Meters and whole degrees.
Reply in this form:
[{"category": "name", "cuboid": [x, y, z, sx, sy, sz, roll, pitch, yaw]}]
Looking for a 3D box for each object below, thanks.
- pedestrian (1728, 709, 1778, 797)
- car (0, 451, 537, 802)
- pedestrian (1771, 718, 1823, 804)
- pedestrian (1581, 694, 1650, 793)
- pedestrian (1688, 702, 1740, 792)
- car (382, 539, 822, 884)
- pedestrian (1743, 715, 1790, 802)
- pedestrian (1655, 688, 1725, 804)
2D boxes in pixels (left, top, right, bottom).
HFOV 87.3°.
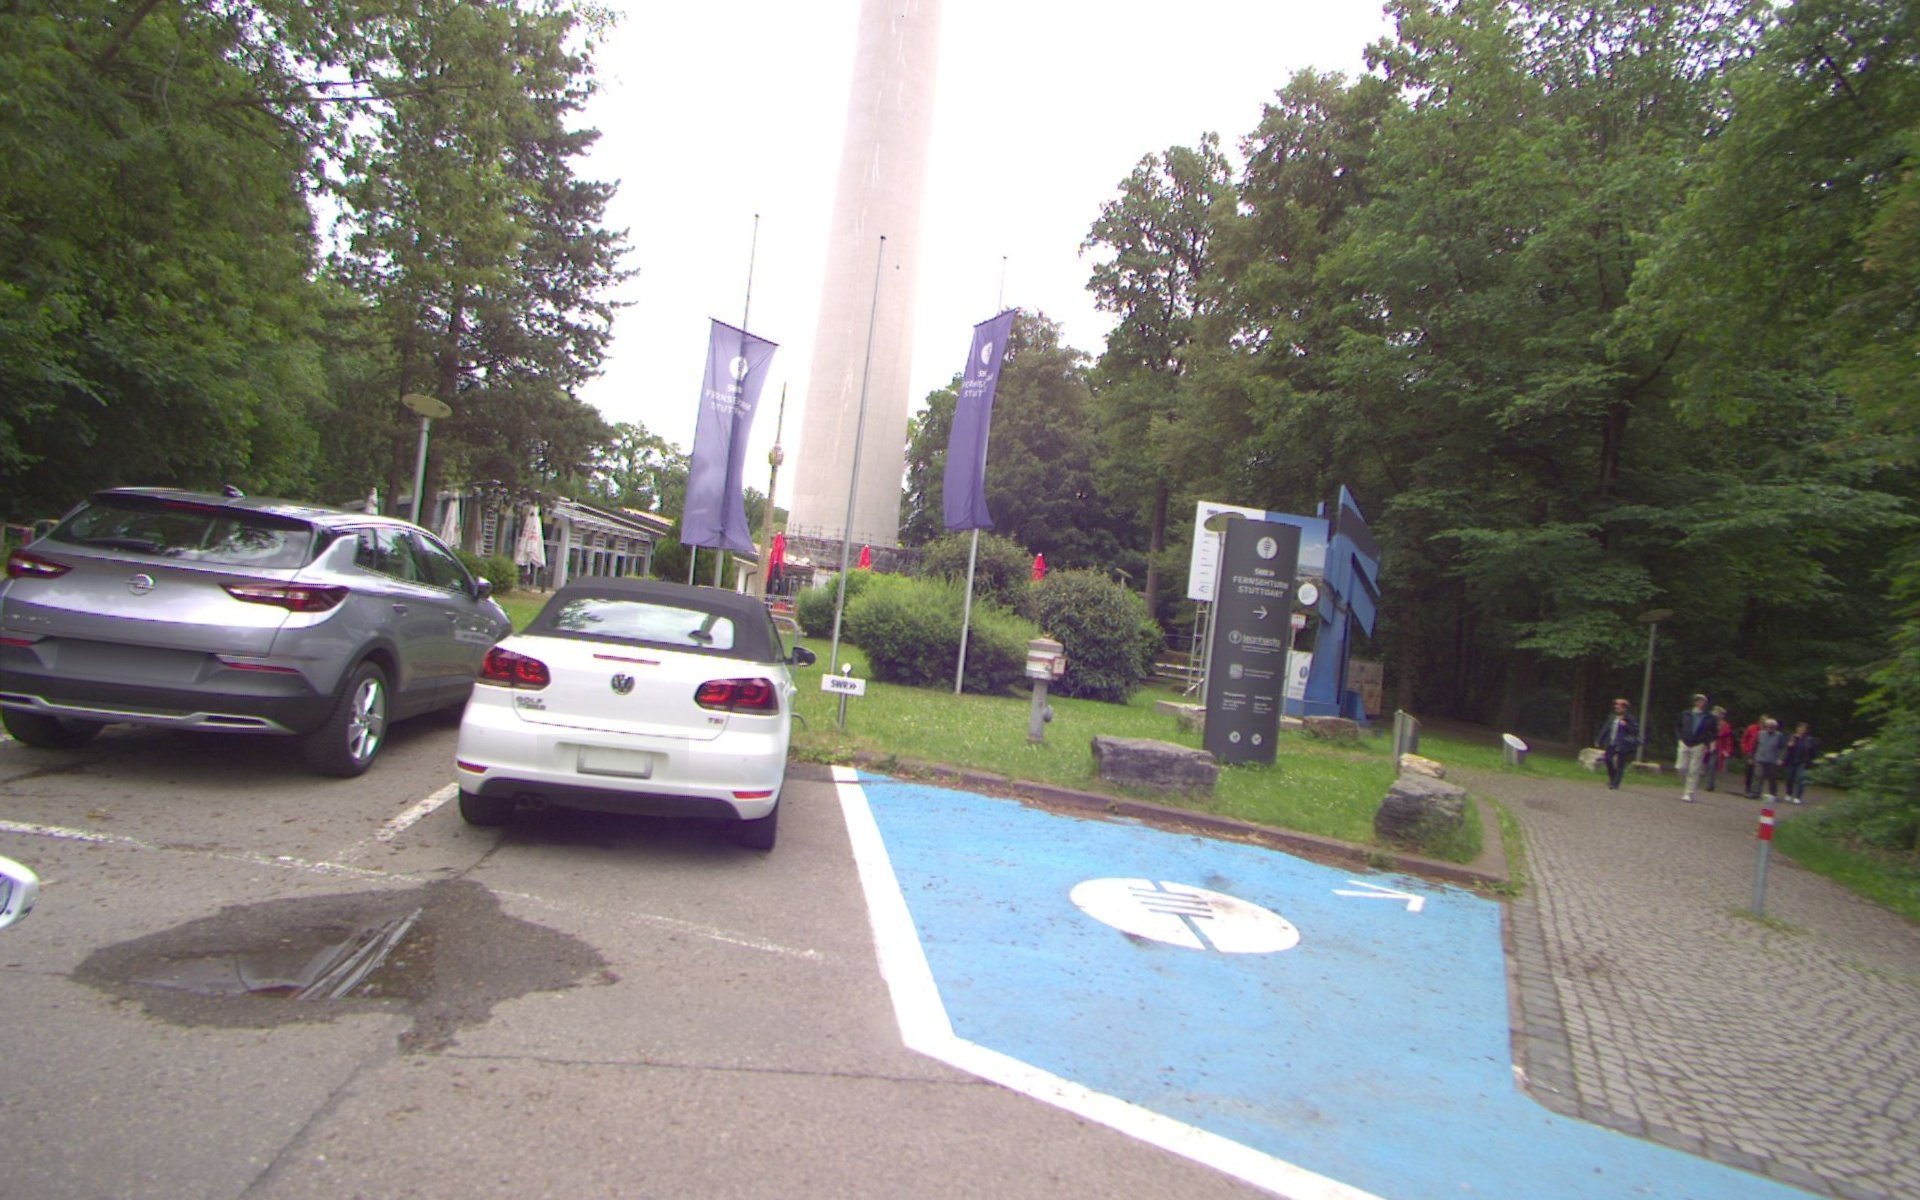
[{"category": "pedestrian", "cuboid": [17.400, 3.340, 22.081, 0.672, 1.789, 0.711, 7, 0, 40]}, {"category": "car", "cuboid": [-4.590, 0.133, 7.084, 1.867, 1.604, 3.994, 8, -1, -9]}, {"category": "pedestrian", "cuboid": [17.766, 3.408, 21.360, 0.672, 1.693, 0.660, 7, 0, 40]}, {"category": "pedestrian", "cuboid": [11.926, 2.606, 18.302, 0.633, 1.654, 0.769, 7, 0, -45]}, {"category": "pedestrian", "cuboid": [16.000, 3.111, 21.352, 0.674, 1.783, 0.603, 7, 0, 40]}, {"category": "car", "cuboid": [-1.994, 0.558, 6.803, 1.867, 1.445, 3.994, 8, -1, -9]}, {"category": "pedestrian", "cuboid": [16.763, 3.277, 20.910, 0.600, 1.693, 0.603, 7, 0, 40]}, {"category": "pedestrian", "cuboid": [13.096, 2.612, 18.045, 0.664, 1.939, 0.725, 7, 0, -45]}]
